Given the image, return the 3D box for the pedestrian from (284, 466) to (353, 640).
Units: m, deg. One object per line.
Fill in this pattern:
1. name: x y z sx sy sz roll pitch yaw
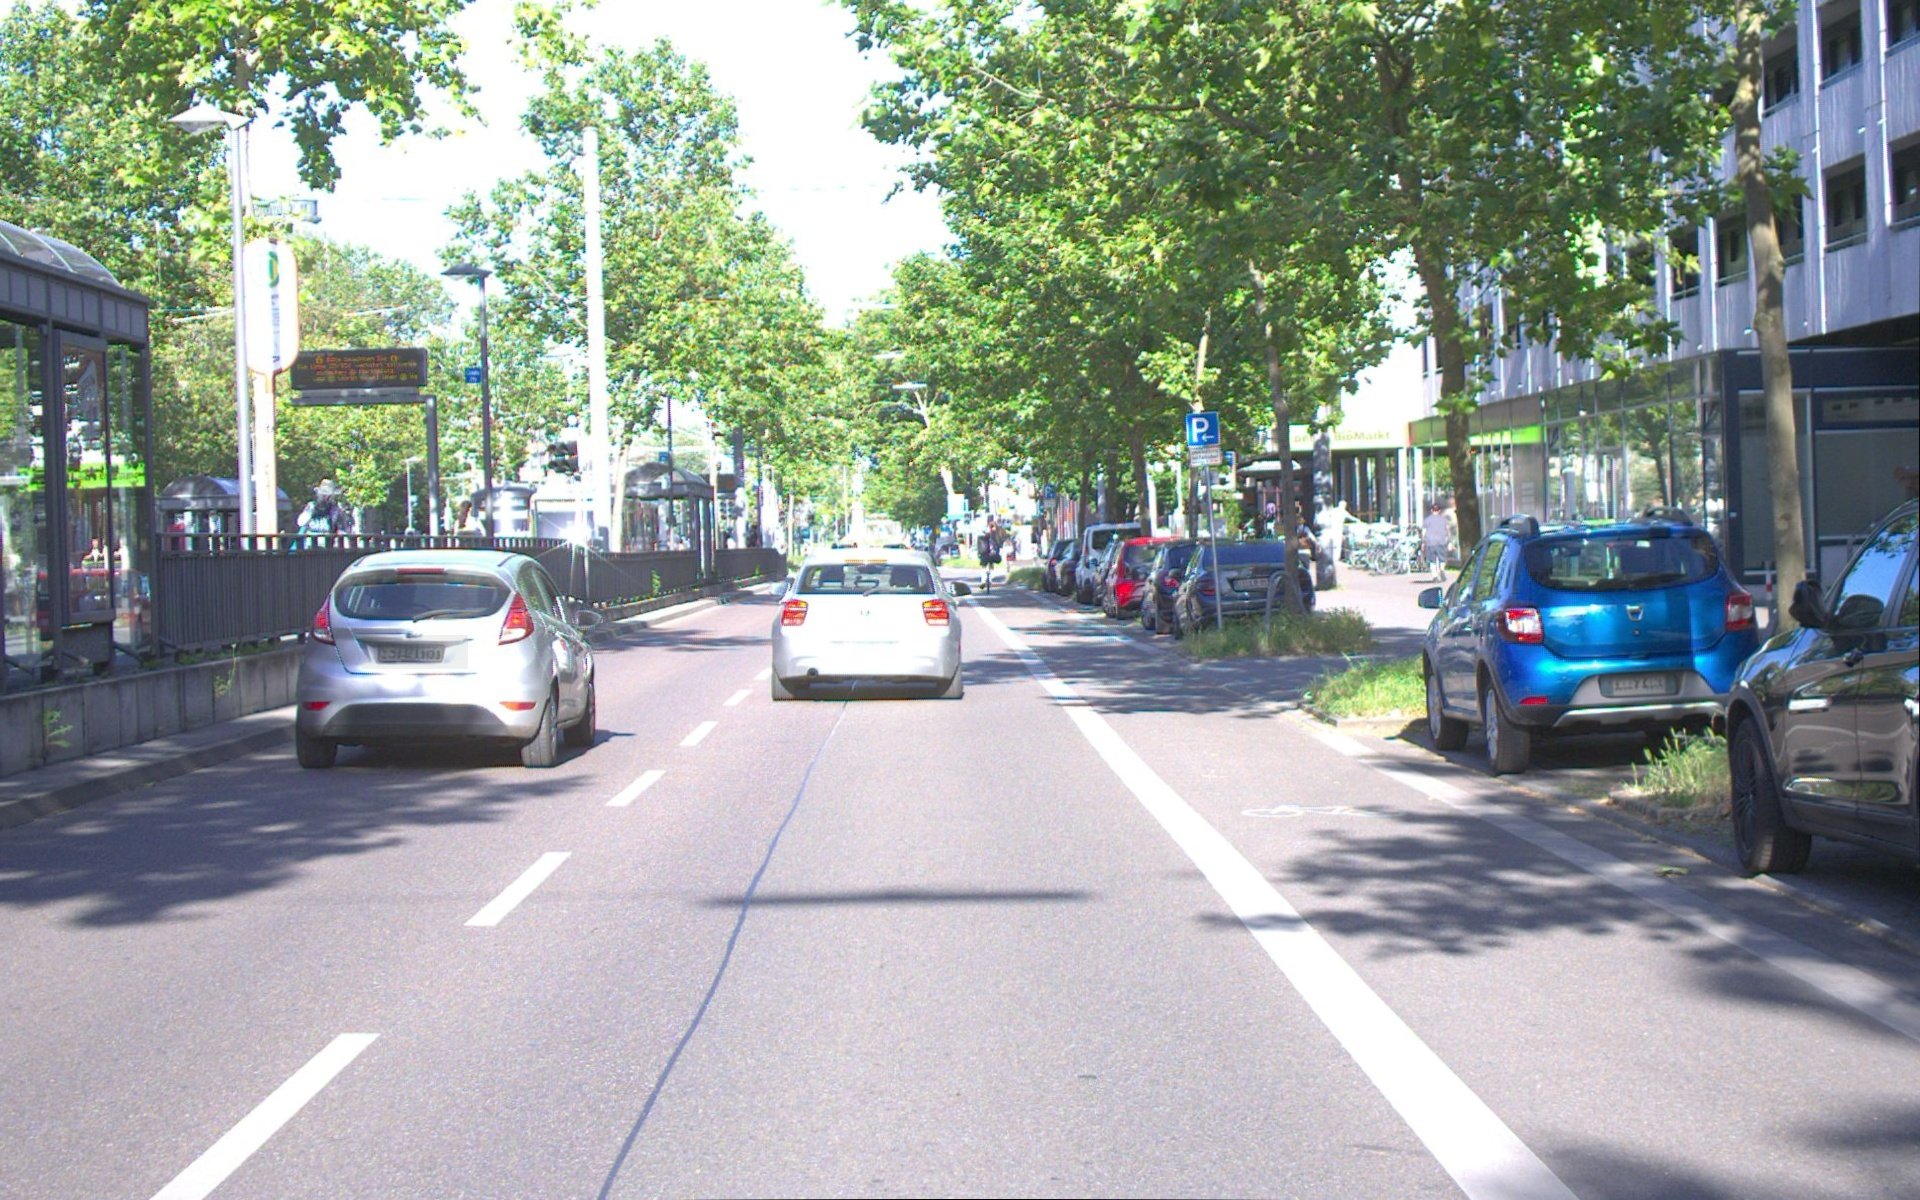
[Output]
1. pedestrian: -7.292 -0.543 39.086 0.639 1.947 0.814 0 2 0

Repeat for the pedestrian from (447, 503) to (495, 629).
1. pedestrian: -7.645 -0.536 53.767 0.639 1.947 0.814 0 2 0

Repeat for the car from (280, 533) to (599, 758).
1. car: -3.511 0.253 23.763 1.646 1.358 3.760 0 2 0

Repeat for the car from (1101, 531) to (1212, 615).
1. car: 3.642 -0.530 64.173 1.806 1.515 4.000 0 1 0

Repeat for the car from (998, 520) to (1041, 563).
1. car: 2.926 -2.899 170.054 1.993 2.006 4.001 0 2 0

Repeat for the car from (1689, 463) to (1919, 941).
1. car: 4.279 0.327 13.405 1.798 1.694 4.738 -1 1 -1

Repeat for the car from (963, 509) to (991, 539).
1. car: 1.178 -5.210 236.466 1.875 2.006 3.712 0 2 0

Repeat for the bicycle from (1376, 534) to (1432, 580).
1. bicycle: 11.247 -1.097 87.135 1.383 1.144 0.243 0 2 -1

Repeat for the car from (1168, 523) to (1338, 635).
1. car: 4.105 -0.318 48.889 1.993 1.504 4.598 0 1 0

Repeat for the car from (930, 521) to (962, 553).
1. car: -0.899 -4.147 225.713 2.071 2.007 4.000 -1 1 0

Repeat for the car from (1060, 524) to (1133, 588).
1. car: 3.502 -1.161 88.847 1.711 1.557 4.001 0 2 0

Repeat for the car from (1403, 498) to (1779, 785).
1. car: 4.099 0.193 22.932 1.692 1.652 4.040 -1 2 -1

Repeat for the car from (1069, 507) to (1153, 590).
1. car: 3.486 -1.223 79.852 1.724 1.874 4.000 0 1 0

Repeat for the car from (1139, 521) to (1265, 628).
1. car: 3.765 -0.430 54.068 1.669 1.546 4.001 0 2 0

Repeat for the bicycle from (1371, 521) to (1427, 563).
1. bicycle: 11.210 -1.480 87.776 1.383 1.052 0.243 0 2 -1

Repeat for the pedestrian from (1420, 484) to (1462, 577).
1. pedestrian: 10.543 -1.528 75.388 0.788 2.007 0.891 -1 1 0

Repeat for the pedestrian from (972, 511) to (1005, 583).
1. pedestrian: 0.813 -1.502 97.341 0.838 2.006 0.648 1 2 7

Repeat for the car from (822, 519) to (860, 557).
1. car: -6.534 -3.424 189.317 1.993 2.006 4.001 0 2 0

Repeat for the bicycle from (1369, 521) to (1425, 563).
1. bicycle: 11.199 -1.497 88.107 1.383 1.055 0.243 1 2 -1

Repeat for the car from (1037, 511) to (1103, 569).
1. car: 3.054 -1.702 96.213 1.700 1.529 3.717 0 2 0

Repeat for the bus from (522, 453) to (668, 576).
1. bus: -11.617 -2.842 111.357 2.750 3.613 18.849 -1 2 0

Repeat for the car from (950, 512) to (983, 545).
1. car: 0.395 -4.444 213.178 1.993 2.007 4.000 -1 1 -1

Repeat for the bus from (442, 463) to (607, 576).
1. bus: -15.436 -3.027 124.067 2.869 3.616 24.606 -1 2 0

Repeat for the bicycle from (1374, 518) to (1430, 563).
1. bicycle: 11.235 -1.511 87.450 1.383 1.144 0.243 0 2 -1

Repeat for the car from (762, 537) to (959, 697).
1. car: -0.941 0.118 33.158 1.762 1.427 4.000 -1 1 -1

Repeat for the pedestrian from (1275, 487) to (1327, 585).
1. pedestrian: 7.070 -1.320 71.347 0.963 2.007 0.938 -1 1 0
